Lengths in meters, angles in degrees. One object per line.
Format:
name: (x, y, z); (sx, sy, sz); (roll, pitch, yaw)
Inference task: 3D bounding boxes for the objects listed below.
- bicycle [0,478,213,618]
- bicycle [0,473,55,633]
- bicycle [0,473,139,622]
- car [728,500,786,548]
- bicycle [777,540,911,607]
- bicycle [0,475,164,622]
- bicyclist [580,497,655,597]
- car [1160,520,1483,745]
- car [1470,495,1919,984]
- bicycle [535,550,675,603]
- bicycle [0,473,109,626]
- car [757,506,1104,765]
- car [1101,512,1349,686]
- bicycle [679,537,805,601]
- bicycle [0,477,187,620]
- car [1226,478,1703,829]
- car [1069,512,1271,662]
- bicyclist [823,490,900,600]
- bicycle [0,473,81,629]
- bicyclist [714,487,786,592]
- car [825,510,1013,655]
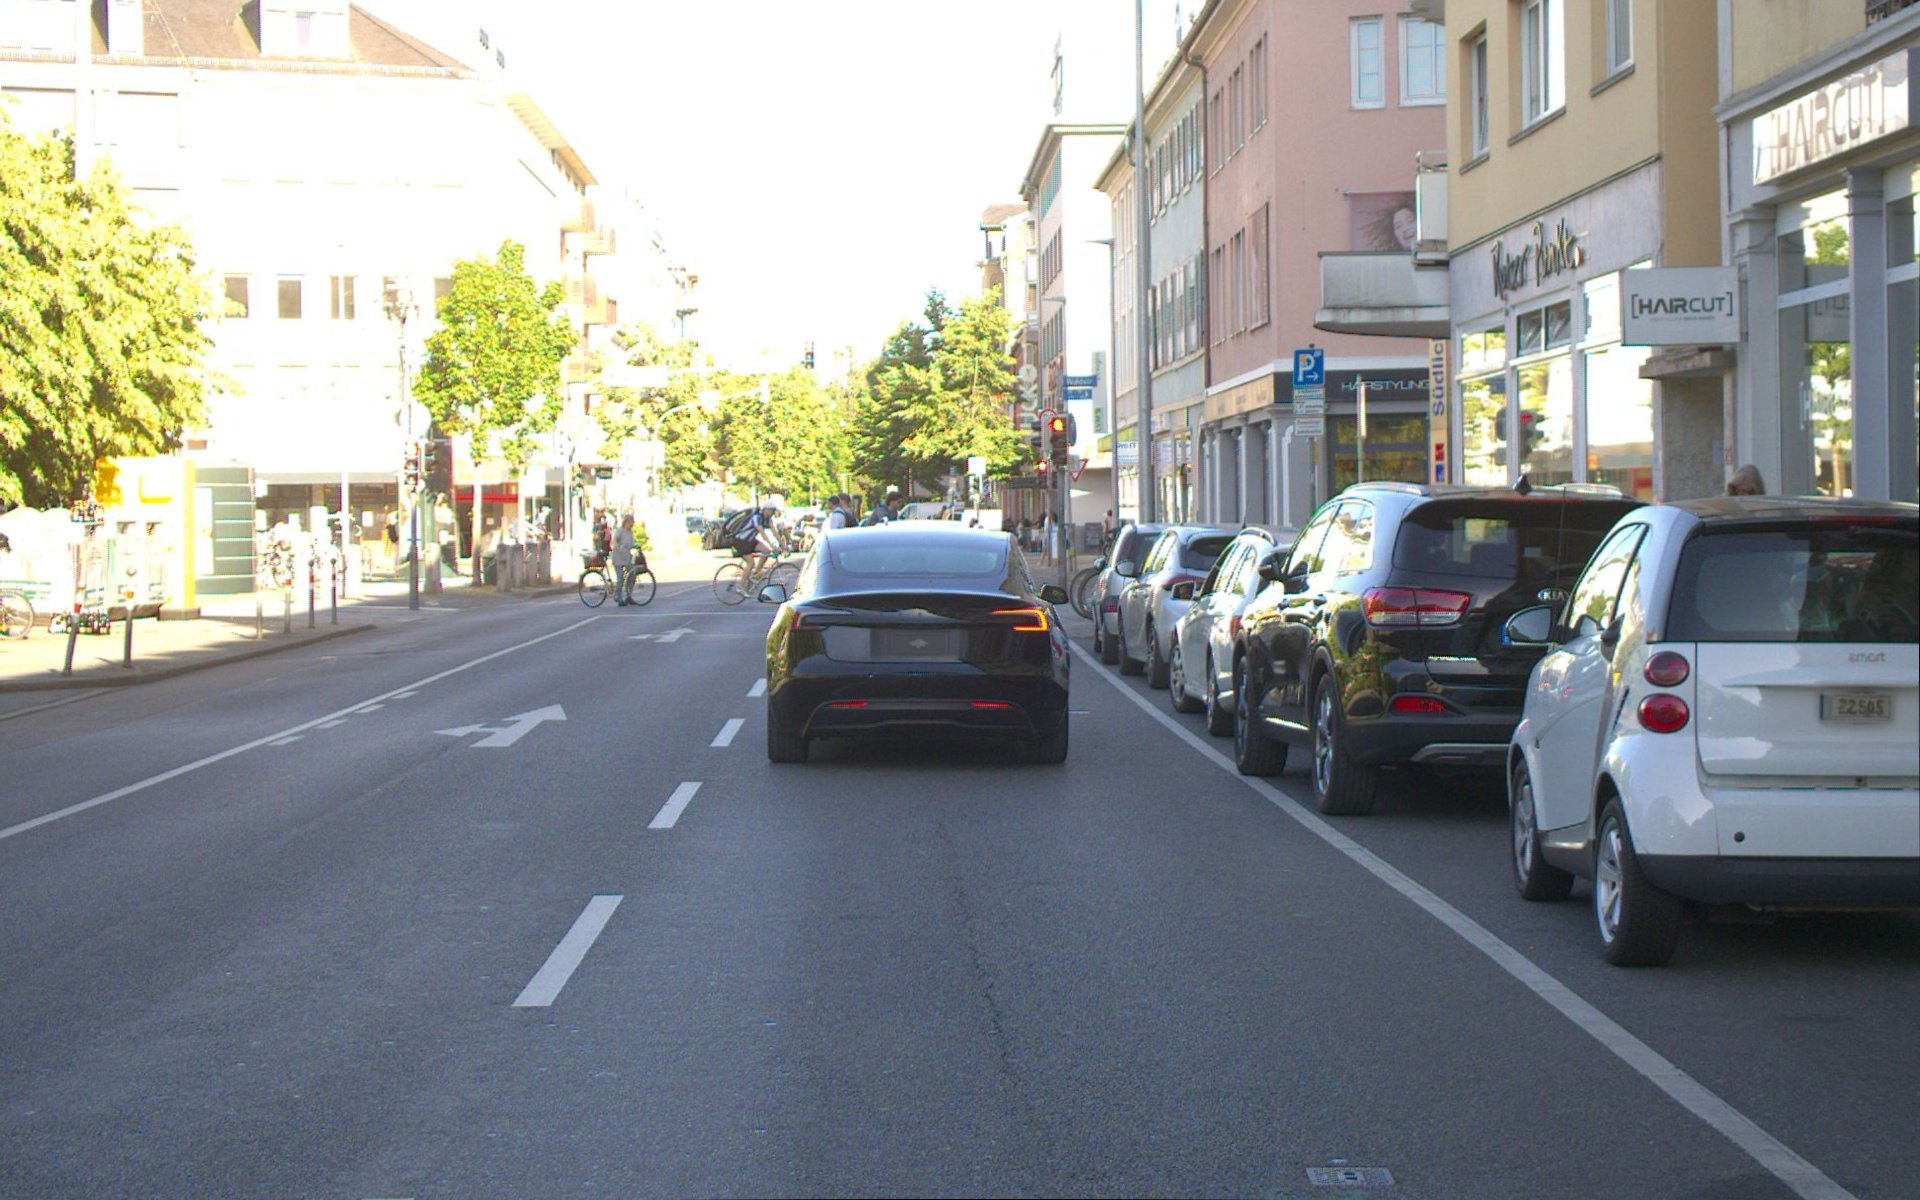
bicycle: (-12.498, -0.765, 49.837); (3.122, 2.007, 0.908); (0, 1, 8)
bicycle: (-13.176, -0.609, 43.673); (3.122, 2.007, 0.908); (0, 1, 8)
bicycle: (-12.810, -0.722, 46.670); (3.122, 2.007, 0.908); (0, 1, 8)
car: (-7.874, -2.976, 133.588); (1.993, 1.765, 4.001); (1, 2, 0)
bicycle: (-1.792, -0.412, 52.906); (2.011, 1.018, 0.888); (0, 1, -4)
bicycle: (-12.729, -0.727, 47.754); (3.122, 2.007, 0.908); (0, 1, 8)
bicyclist: (-5.800, -0.902, 58.321); (1.146, 1.680, 0.915); (0, 1, 2)
car: (2.498, 0.195, 24.654); (1.792, 1.455, 4.084); (1, 0, -1)
car: (2.872, 0.408, 12.396); (1.613, 1.541, 2.855); (1, 2, 0)
bicycle: (-6.022, -0.402, 58.347); (2.244, 0.880, 0.923); (0, 1, 3)
bicycle: (-12.958, -0.683, 45.623); (3.122, 2.007, 0.908); (0, 1, 8)
car: (-0.259, 0.188, 22.229); (1.995, 1.475, 4.495); (1, 0, -2)
car: (2.334, -0.023, 31.195); (1.792, 1.455, 3.868); (1, 0, -2)
bicycle: (-3.539, -0.503, 55.725); (2.011, 1.018, 0.762); (0, 1, -4)
bicycle: (-12.636, -0.736, 48.793); (3.122, 2.007, 0.908); (0, 1, 8)
car: (2.535, 0.237, 18.218); (1.716, 1.630, 4.085); (1, 0, -3)
car: (2.145, -0.146, 36.053); (1.792, 1.455, 3.868); (1, 0, -1)
bicyclist: (-1.521, -0.855, 52.931); (1.146, 1.680, 0.919); (0, 1, -4)
bicycle: (-13.079, -0.645, 44.630); (3.122, 2.007, 0.908); (0, 1, 8)
bicyclist: (-3.415, -0.986, 55.721); (1.146, 1.680, 0.819); (0, 1, -4)
car: (-0.401, -0.241, 37.480); (1.935, 1.482, 4.271); (0, 2, 1)
